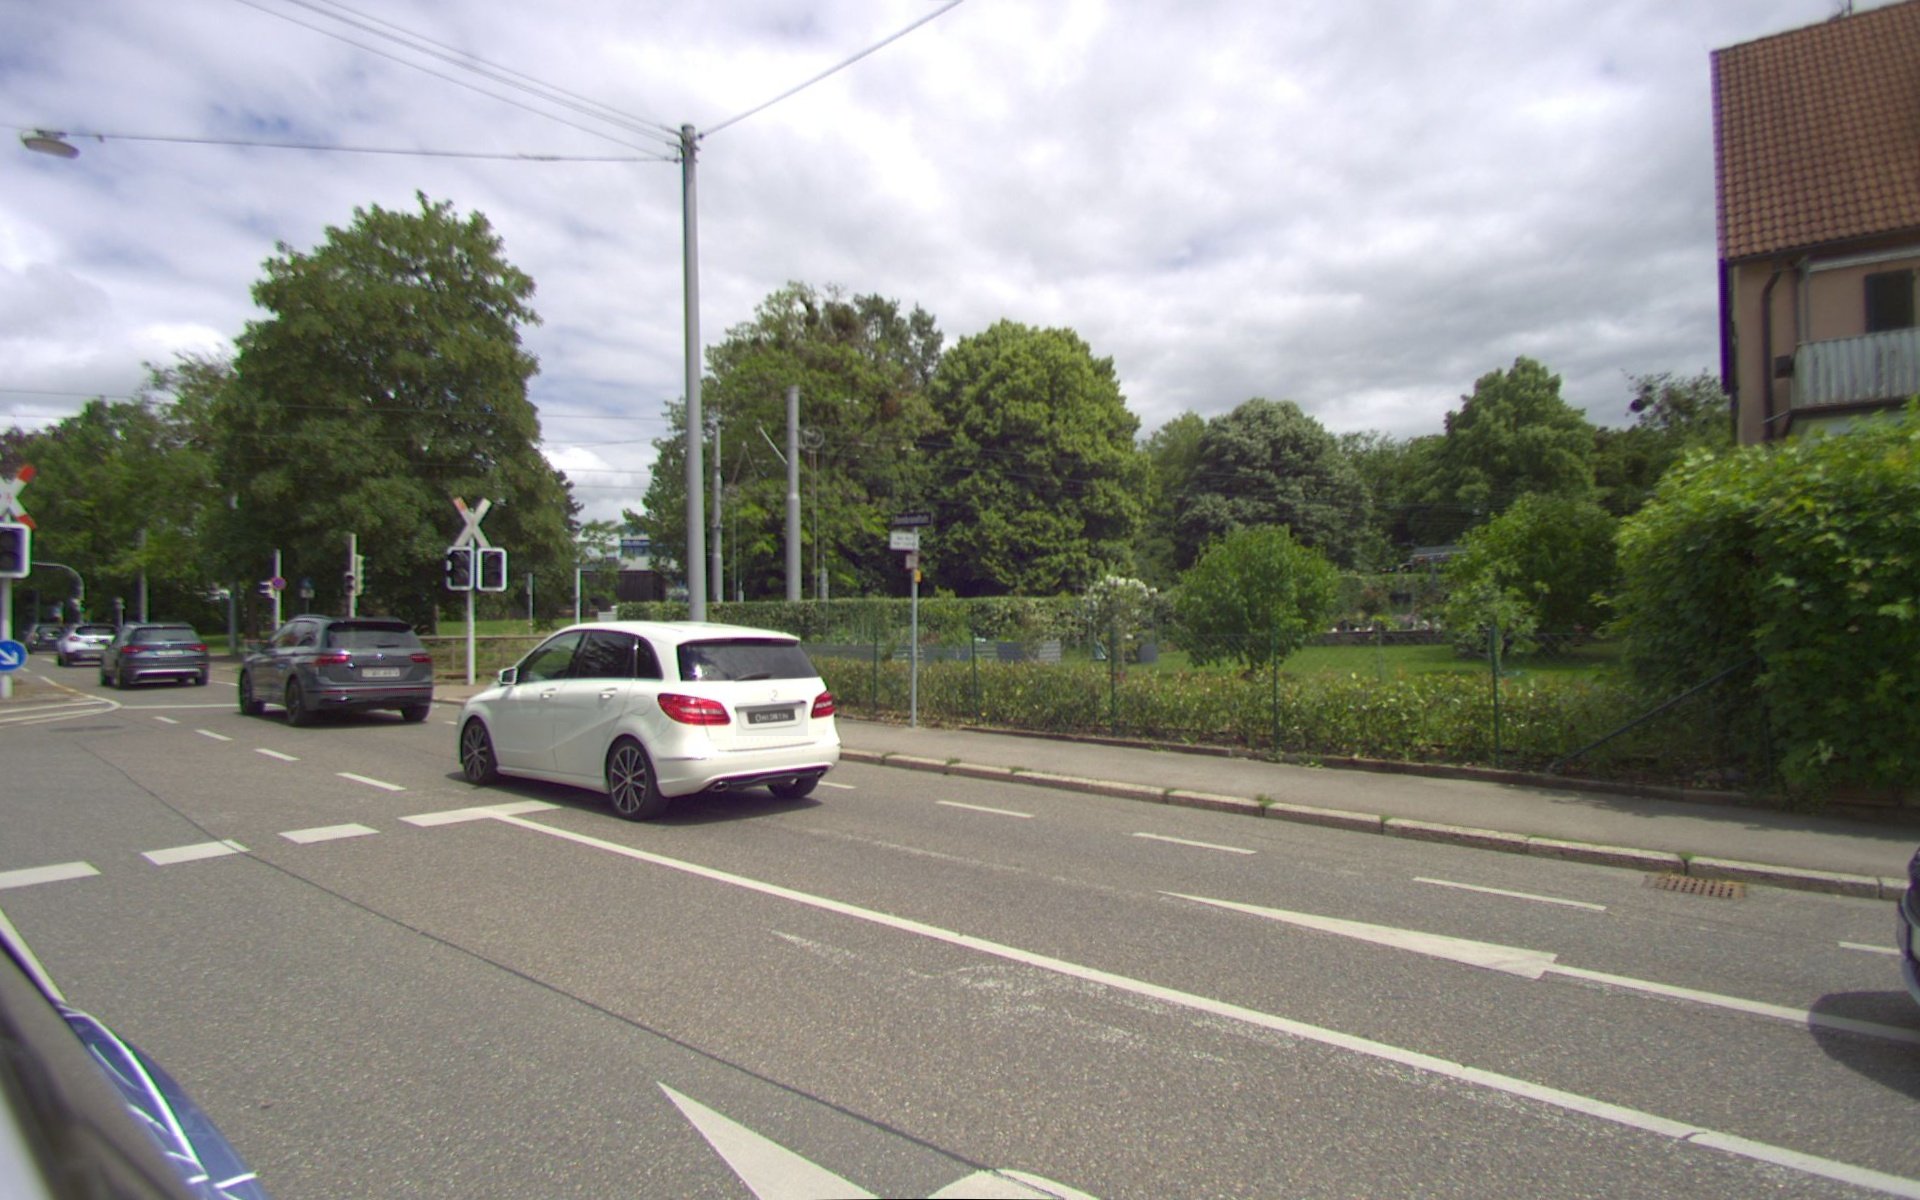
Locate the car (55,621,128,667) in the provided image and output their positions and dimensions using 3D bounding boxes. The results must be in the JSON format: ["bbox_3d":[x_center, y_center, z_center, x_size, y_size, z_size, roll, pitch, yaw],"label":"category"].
[{"bbox_3d":[-31.982,1.615,37.235,1.754,1.615,4.041,1,-3,-45],"label":"car"}]

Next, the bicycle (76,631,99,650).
[{"bbox_3d":[-54.987,2.531,63.754,1.799,1.116,0.803,-1,0,40],"label":"bicycle"}]

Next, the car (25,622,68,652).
[{"bbox_3d":[-47.025,1.901,52.061,1.556,1.521,2.790,1,-2,-44],"label":"car"}]

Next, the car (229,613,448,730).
[{"bbox_3d":[-9.931,1.041,16.052,4.167,1.615,1.756,-1,-3,41],"label":"car"}]

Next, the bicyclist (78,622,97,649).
[{"bbox_3d":[-54.939,2.234,63.721,0.771,1.620,0.797,-1,0,40],"label":"bicyclist"}]

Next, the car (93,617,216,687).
[{"bbox_3d":[-20.223,1.289,25.346,4.037,1.615,1.756,-3,-3,42],"label":"car"}]

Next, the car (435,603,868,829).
[{"bbox_3d":[-2.922,0.895,9.123,4.167,1.573,1.756,-2,-4,41],"label":"car"}]
